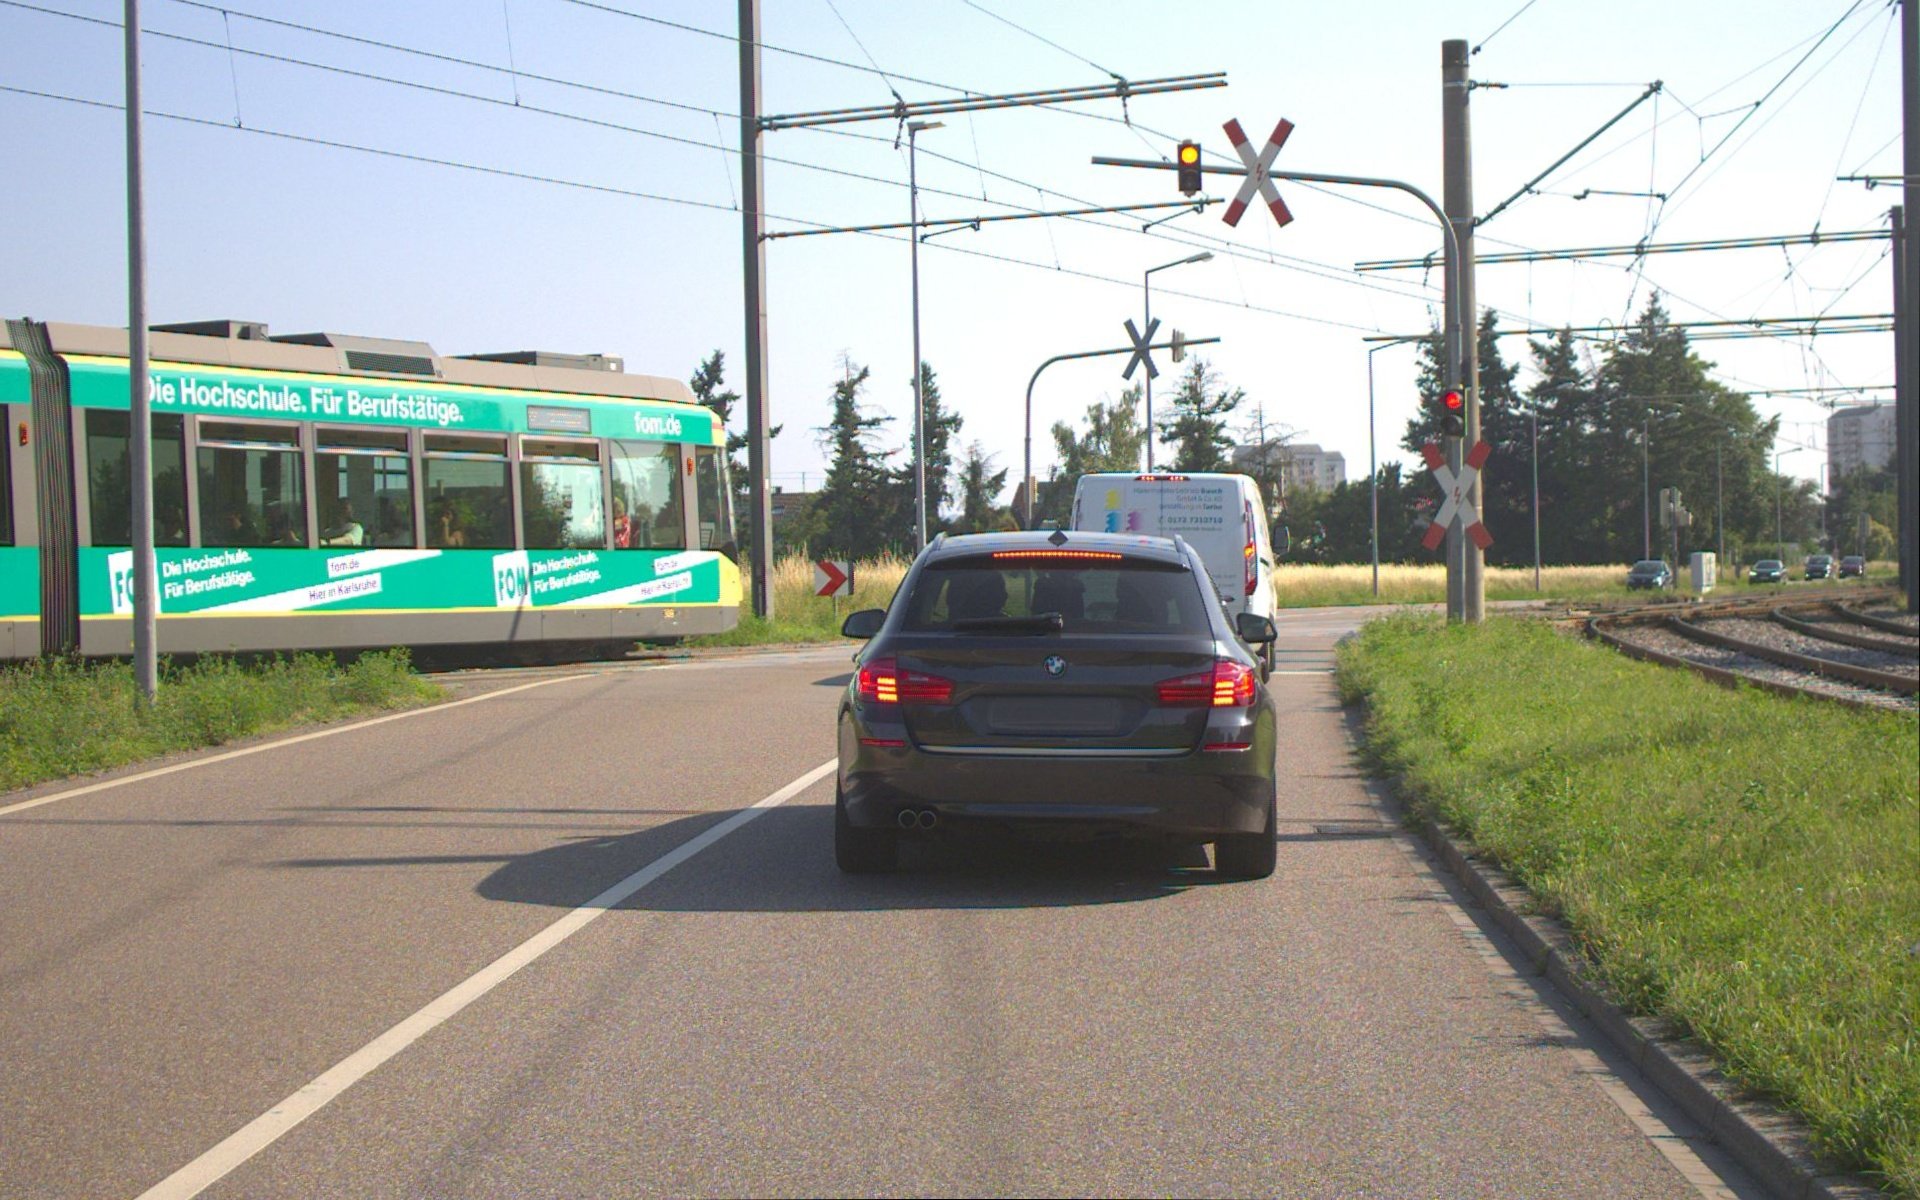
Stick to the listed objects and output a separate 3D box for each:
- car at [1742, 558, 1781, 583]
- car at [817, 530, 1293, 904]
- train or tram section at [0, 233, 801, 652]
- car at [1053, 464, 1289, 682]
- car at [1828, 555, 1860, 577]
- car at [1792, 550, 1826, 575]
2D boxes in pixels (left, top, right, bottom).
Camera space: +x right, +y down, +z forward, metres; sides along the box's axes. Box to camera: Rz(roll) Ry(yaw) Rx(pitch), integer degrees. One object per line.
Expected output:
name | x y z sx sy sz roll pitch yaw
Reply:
car | 45.830 -1.696 196.510 1.694 1.434 4.280 1 1 19
car | 0.482 0.409 15.911 1.869 1.447 4.743 0 1 3
train or tram section | -6.579 -1.301 36.204 2.911 3.556 14.238 1 -1 28
car | 2.167 -0.293 34.014 1.858 1.981 5.106 0 1 9
car | 63.058 -2.409 245.176 1.714 1.544 3.924 0 1 21
car | 55.918 -2.488 226.376 1.708 1.659 4.585 0 1 20
